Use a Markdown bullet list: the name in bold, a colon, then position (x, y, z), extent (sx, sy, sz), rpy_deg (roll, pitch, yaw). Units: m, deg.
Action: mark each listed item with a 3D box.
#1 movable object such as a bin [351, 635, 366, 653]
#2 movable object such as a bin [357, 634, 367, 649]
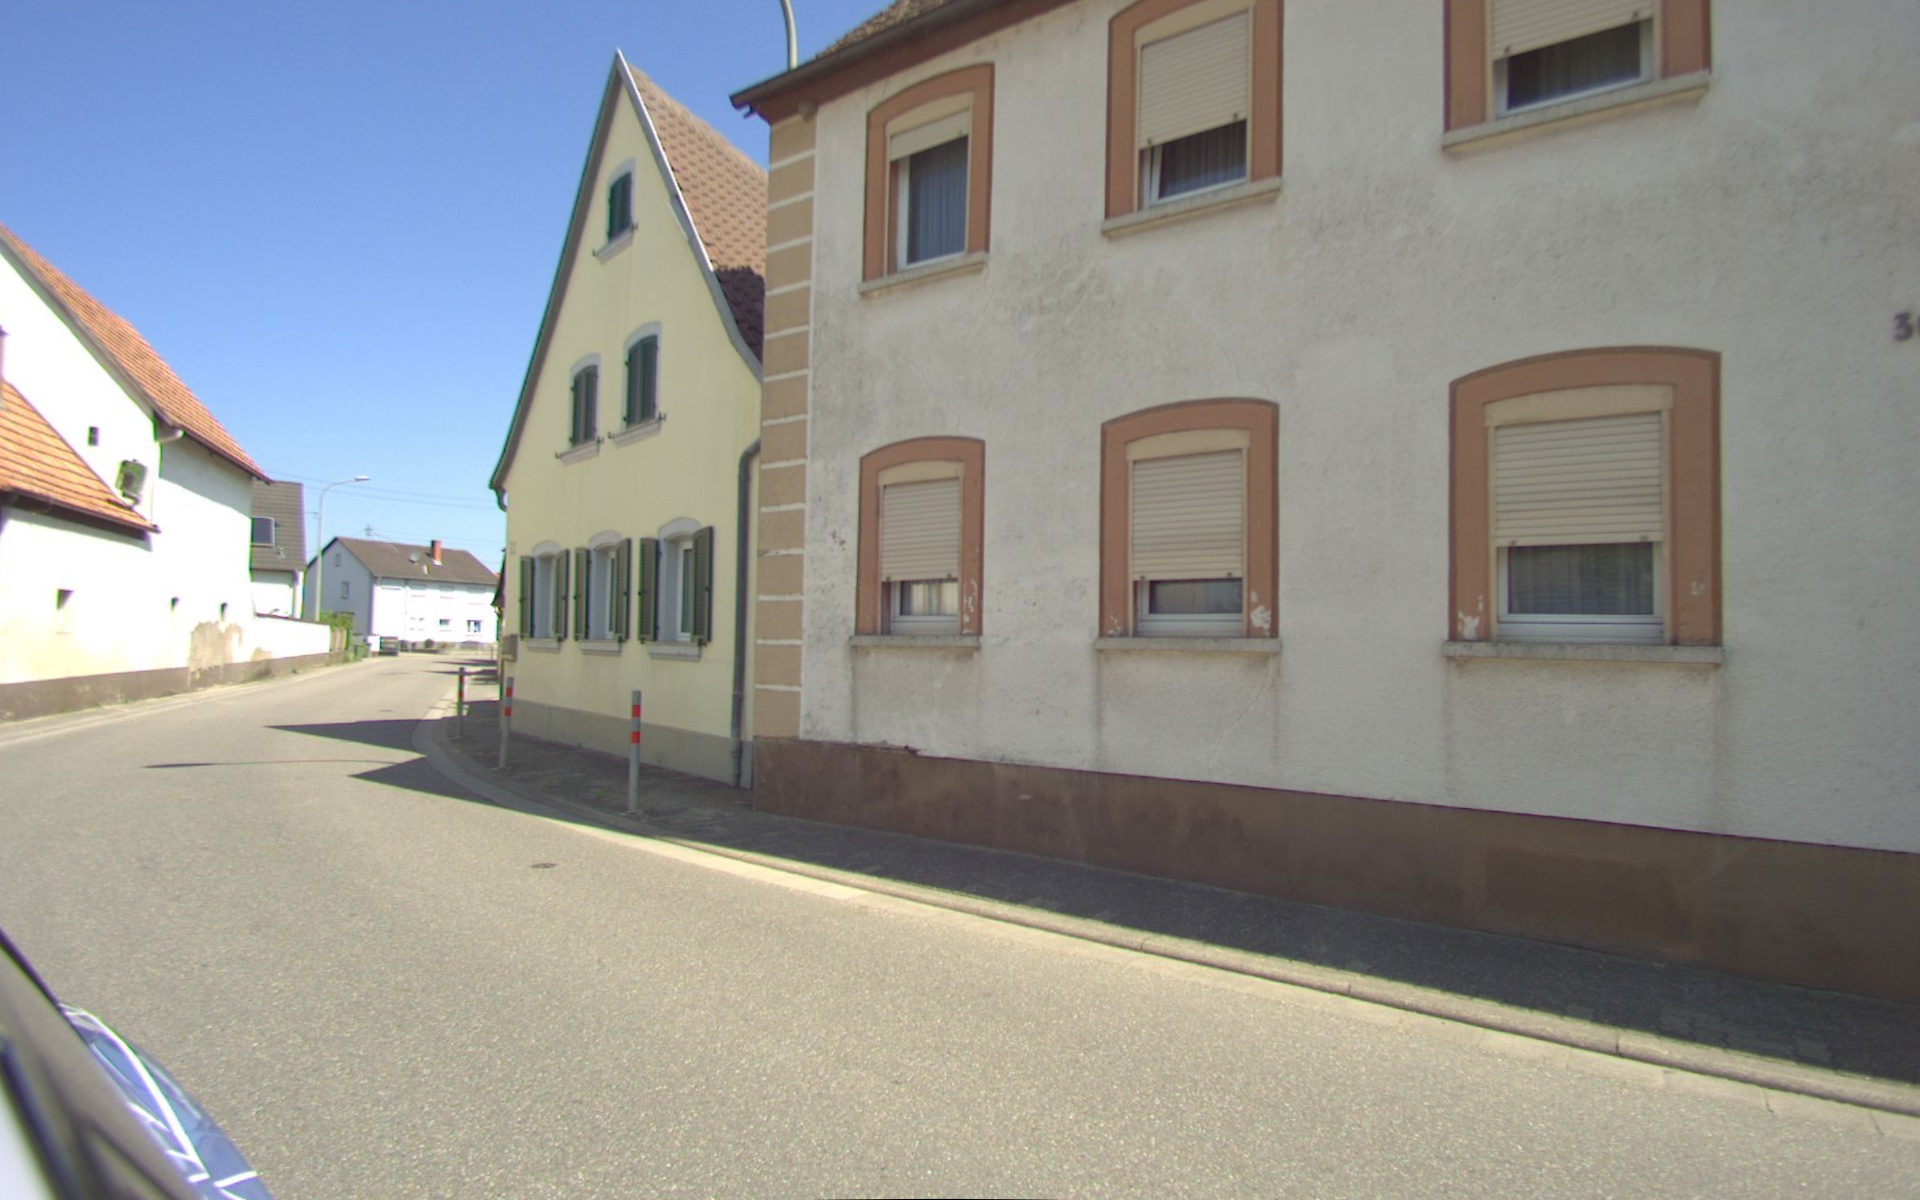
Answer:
- **movable object such as a bin**: position (-32.318, 2.365, 54.370), extent (0.432, 0.984, 0.544), rpy_deg (-1, -3, 40)
- **movable object such as a bin**: position (-37.532, 2.606, 63.505), extent (0.497, 0.984, 0.434), rpy_deg (1, -2, -25)
